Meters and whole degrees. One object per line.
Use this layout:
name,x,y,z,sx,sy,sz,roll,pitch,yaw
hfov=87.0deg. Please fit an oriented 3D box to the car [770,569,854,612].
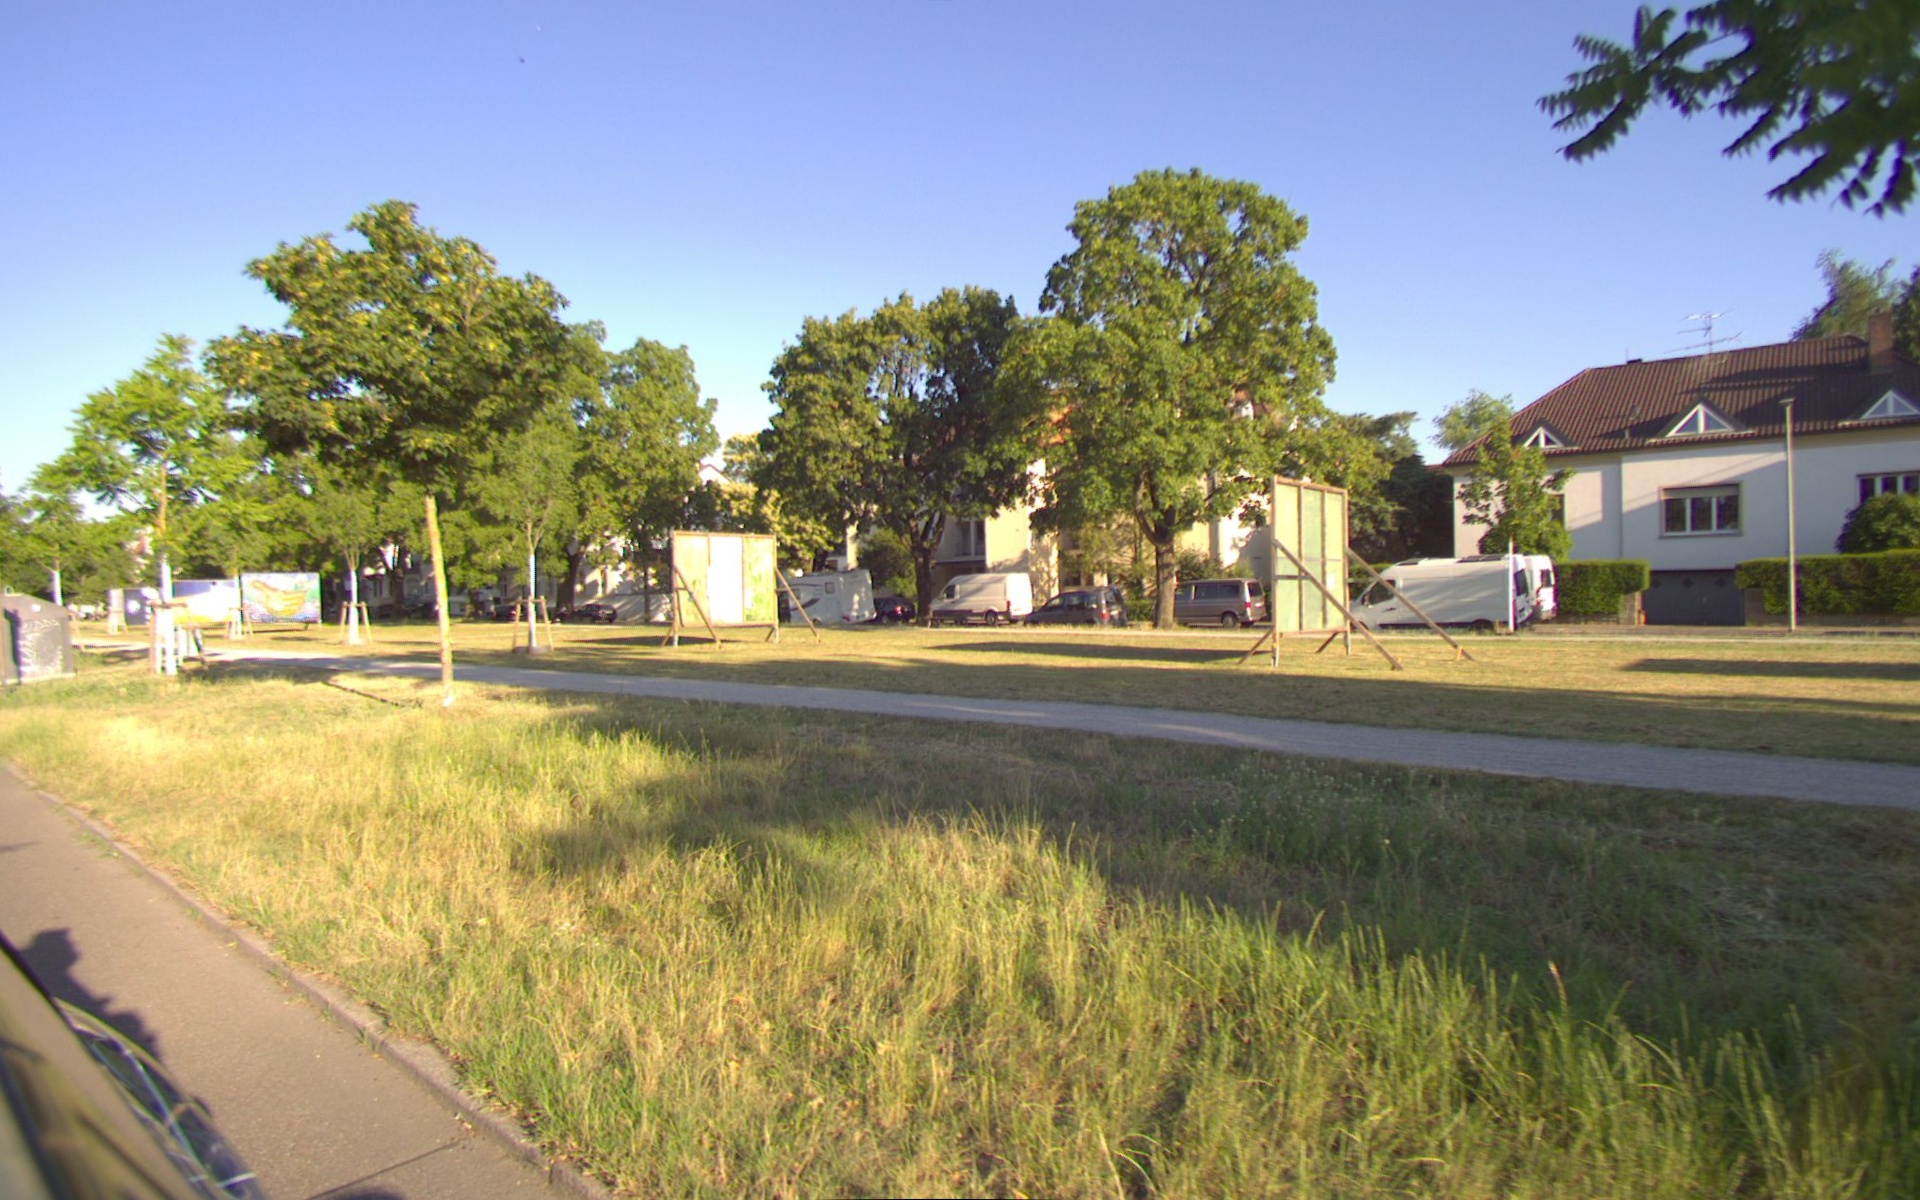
car,-7.331,-0.449,49.969,3.999,2.029,1.973,-1,0,42

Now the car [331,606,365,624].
car,-65.238,1.615,107.930,4.280,1.838,1.605,-2,-1,37

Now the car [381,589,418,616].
car,-54.757,0.215,98.893,3.998,2.560,1.973,1,1,41

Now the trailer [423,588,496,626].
trailer,-37.867,0.518,76.479,6.632,2.679,2.448,0,-3,40

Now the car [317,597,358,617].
car,-57.950,0.687,94.130,4.341,1.742,1.973,-2,-1,40

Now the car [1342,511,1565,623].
car,17.439,-1.072,36.073,6.762,3.586,2.279,0,-3,41

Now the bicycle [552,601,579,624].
bicycle,-23.422,0.730,60.060,2.331,1.352,0.505,-1,0,44

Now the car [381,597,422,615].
car,-46.237,0.493,83.761,4.043,1.325,1.832,0,1,44

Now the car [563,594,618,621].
car,-27.586,0.553,75.476,4.712,1.927,1.870,-1,0,42

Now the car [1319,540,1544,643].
car,14.386,-0.205,31.123,5.869,2.847,2.236,0,-3,41

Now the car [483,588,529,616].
car,-37.342,0.177,83.220,3.999,2.170,1.973,-1,0,42

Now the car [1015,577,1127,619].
car,4.285,-0.065,39.469,4.306,1.576,1.400,-1,0,40

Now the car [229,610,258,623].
car,-79.884,1.824,112.812,3.636,1.418,1.672,-2,-1,37

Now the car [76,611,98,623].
car,-150.951,2.916,174.990,3.996,2.029,2.099,0,-3,40

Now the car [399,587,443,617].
car,-51.033,0.212,95.790,5.042,2.660,1.925,0,-3,41

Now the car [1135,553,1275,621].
car,10.238,-0.516,42.535,5.321,2.624,2.114,0,-3,39

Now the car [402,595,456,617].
car,-42.201,0.469,80.396,4.947,1.654,1.974,-1,1,40

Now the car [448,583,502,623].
car,-42.118,0.282,87.839,6.071,3.274,1.973,-2,-1,41

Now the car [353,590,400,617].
car,-50.433,0.284,87.478,4.565,2.191,1.974,-2,-1,39

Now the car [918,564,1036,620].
car,0.788,-0.372,51.402,6.087,2.617,1.973,0,-3,41

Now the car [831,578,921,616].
car,-4.660,-0.142,55.734,5.048,2.019,1.949,-1,0,42

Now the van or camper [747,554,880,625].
van or camper,-7.331,-0.449,49.969,6.902,3.287,2.614,-1,0,42
